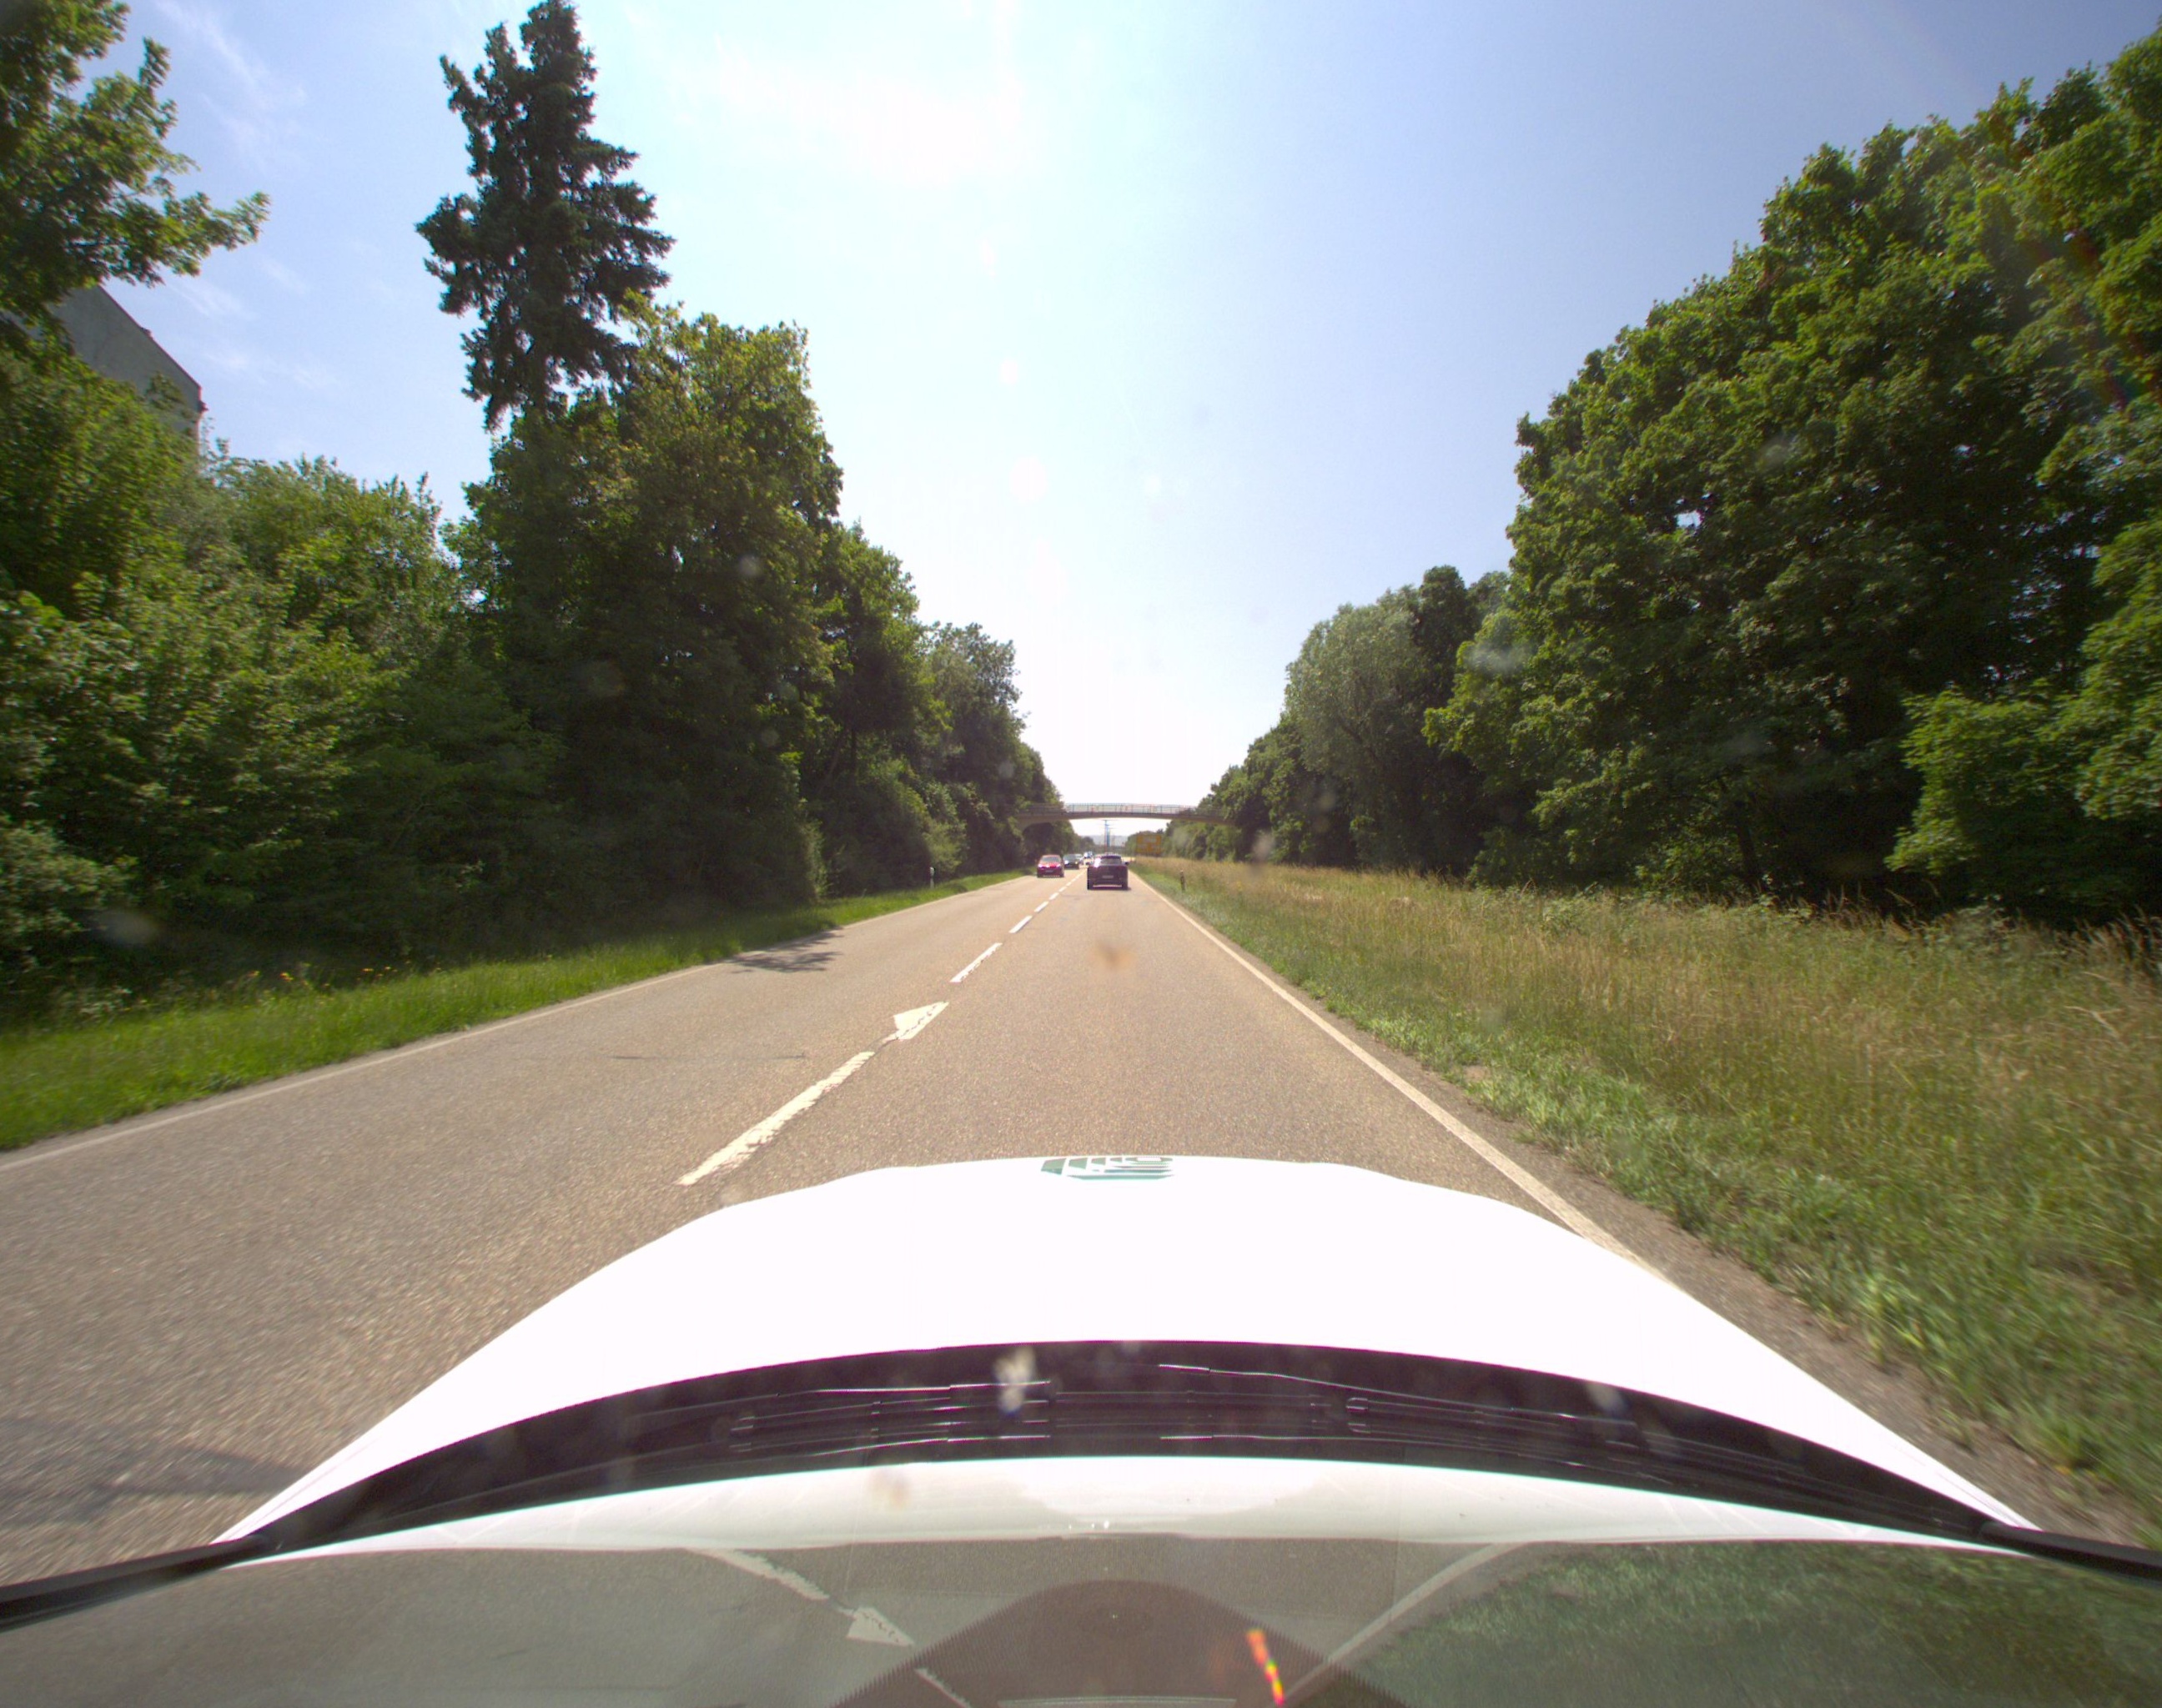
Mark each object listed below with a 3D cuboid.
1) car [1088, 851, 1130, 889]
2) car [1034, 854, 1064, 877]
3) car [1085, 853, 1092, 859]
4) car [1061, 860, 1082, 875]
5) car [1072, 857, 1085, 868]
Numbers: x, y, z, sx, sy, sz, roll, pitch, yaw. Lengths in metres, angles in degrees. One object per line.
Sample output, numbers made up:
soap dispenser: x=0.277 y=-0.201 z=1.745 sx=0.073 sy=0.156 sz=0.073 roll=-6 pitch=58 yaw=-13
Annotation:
car: x=1.246 y=0.675 z=36.259 sx=1.749 sy=1.556 sz=4.002 roll=1 pitch=0 yaw=2
car: x=-2.129 y=0.744 z=55.123 sx=1.676 sy=1.493 sz=4.002 roll=-1 pitch=0 yaw=2
car: x=1.902 y=0.489 z=206.369 sx=1.816 sy=1.590 sz=4.421 roll=-1 pitch=0 yaw=2
car: x=-0.902 y=1.344 z=81.870 sx=1.776 sy=1.449 sz=4.113 roll=-1 pitch=0 yaw=3
car: x=-0.312 y=1.188 z=114.569 sx=1.671 sy=1.433 sz=3.775 roll=-1 pitch=0 yaw=3
